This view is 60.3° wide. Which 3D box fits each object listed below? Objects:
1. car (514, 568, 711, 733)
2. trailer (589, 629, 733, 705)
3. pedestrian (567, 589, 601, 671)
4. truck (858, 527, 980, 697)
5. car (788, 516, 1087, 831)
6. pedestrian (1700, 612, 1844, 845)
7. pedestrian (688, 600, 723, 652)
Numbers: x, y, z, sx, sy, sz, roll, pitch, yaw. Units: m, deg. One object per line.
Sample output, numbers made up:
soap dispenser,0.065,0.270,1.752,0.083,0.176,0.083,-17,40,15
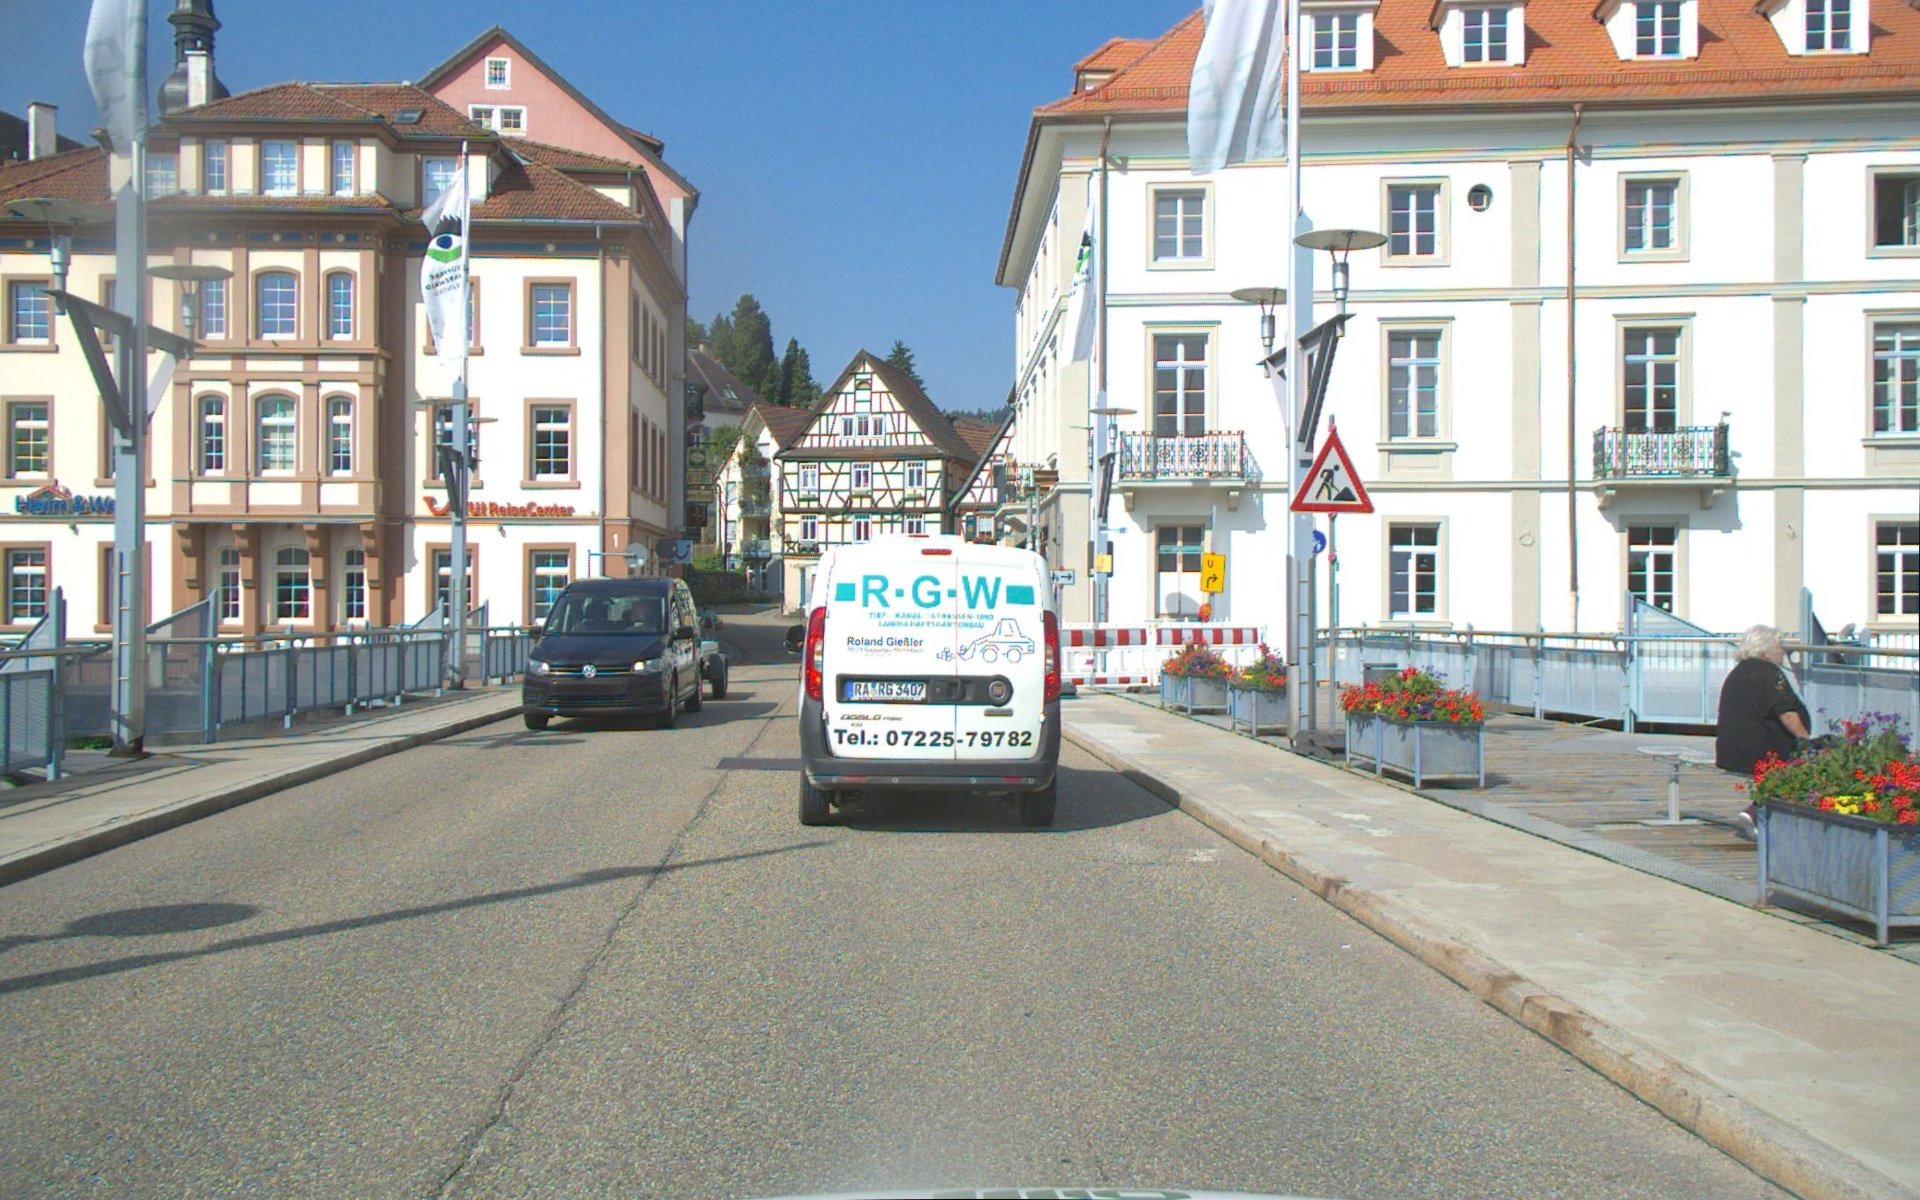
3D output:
car,-4.243,0.543,20.873,1.741,1.824,4.693,1,1,-4
trailer,-4.484,0.979,25.337,1.716,1.040,4.182,-1,-1,-4
pedestrian,-7.660,0.604,33.707,0.572,1.638,0.537,1,0,-6
truck,-0.764,0.189,27.780,1.825,2.630,4.256,1,0,-4
car,-0.353,0.465,12.441,1.809,1.939,4.308,1,0,-7
pedestrian,4.574,0.700,9.341,0.443,1.266,0.625,0,-1,-9
pedestrian,-8.290,0.841,53.952,1.052,1.676,0.685,0,1,-1
